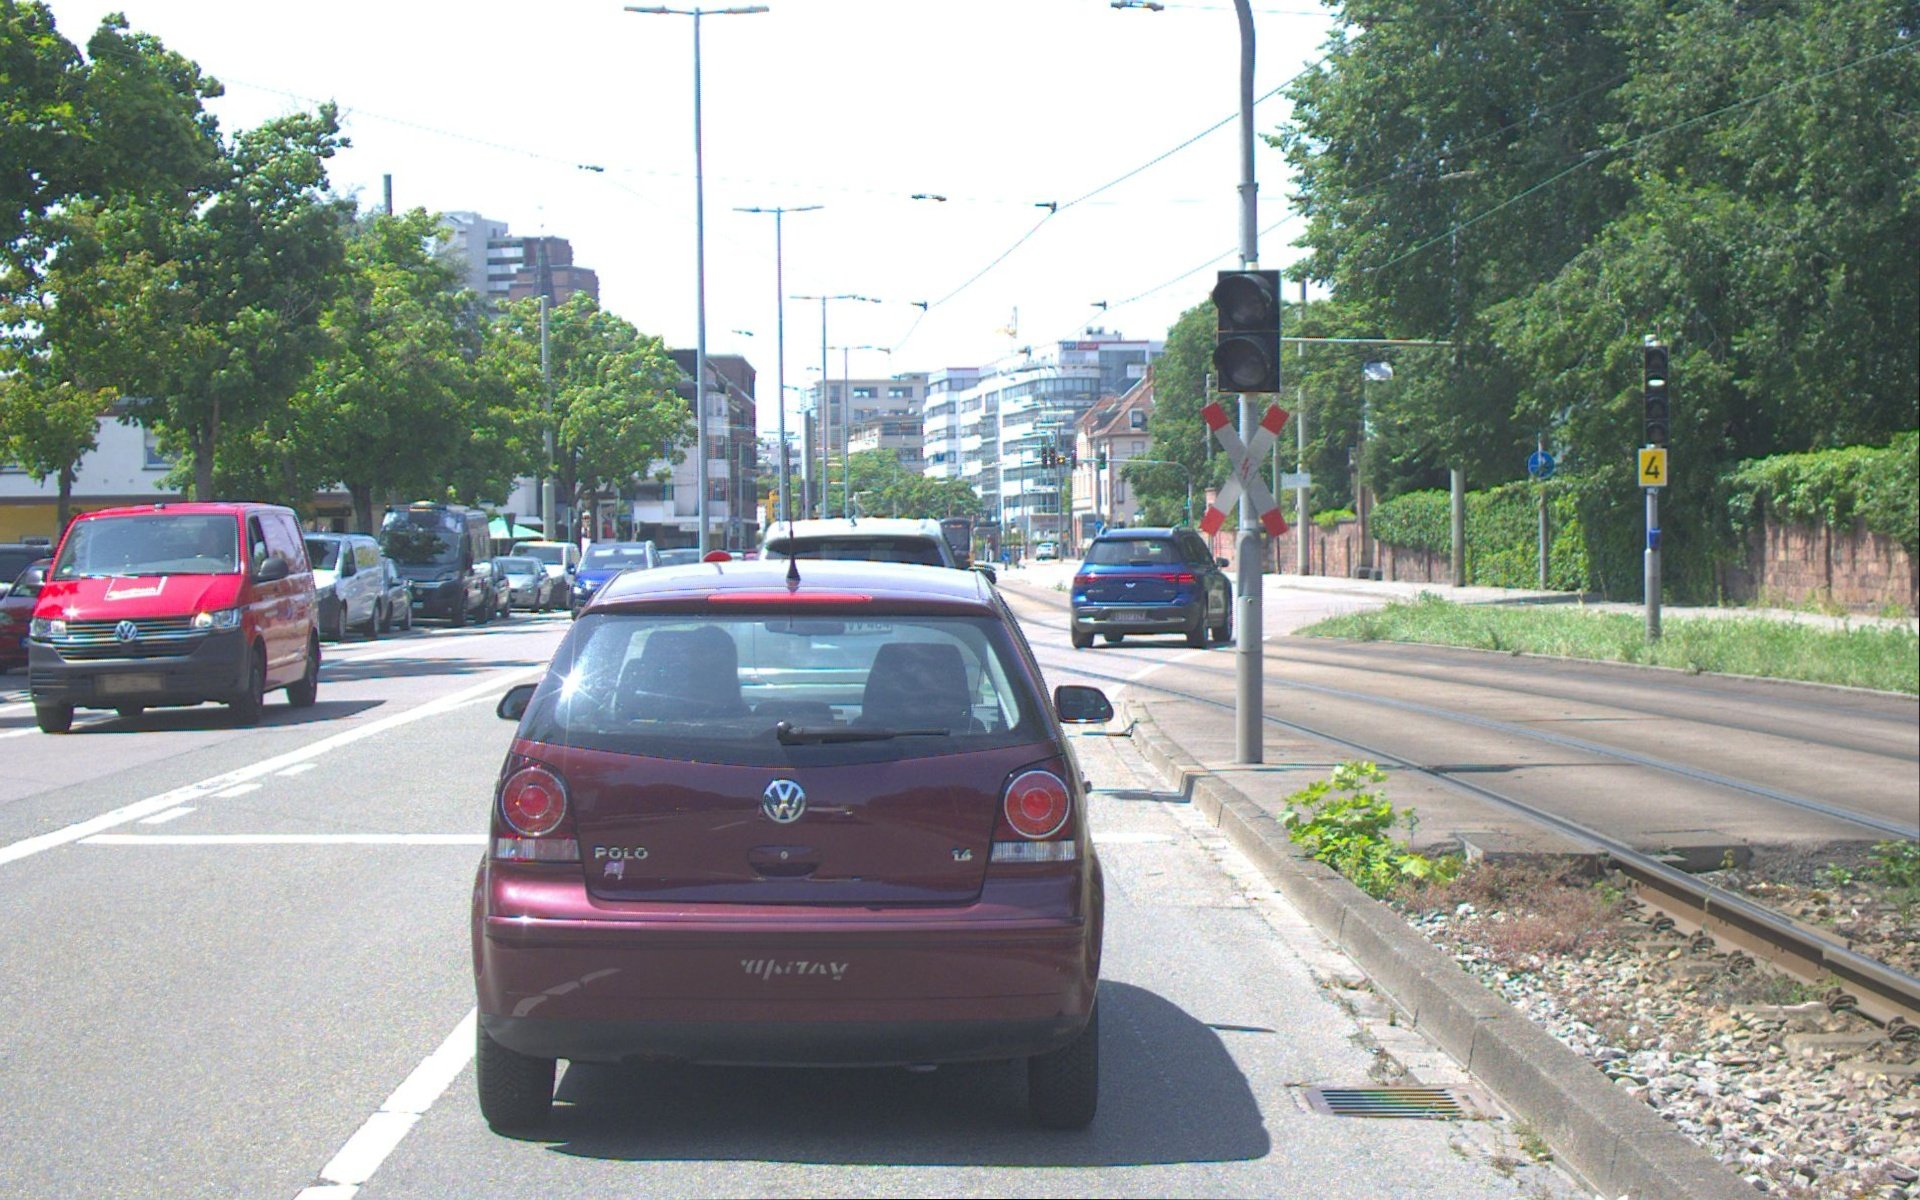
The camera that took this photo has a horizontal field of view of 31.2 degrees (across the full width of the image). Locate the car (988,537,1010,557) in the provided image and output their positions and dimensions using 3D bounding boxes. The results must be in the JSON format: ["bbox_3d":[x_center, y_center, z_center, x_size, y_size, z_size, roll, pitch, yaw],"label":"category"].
[{"bbox_3d":[2.504,-3.366,219.477,1.354,1.248,2.972,0,1,0],"label":"car"}]

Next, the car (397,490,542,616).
[{"bbox_3d":[-11.133,-1.087,78.497,2.398,2.647,6.173,3,1,-1],"label":"car"}]

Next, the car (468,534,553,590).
[{"bbox_3d":[-11.967,-1.018,91.682,1.631,1.415,3.867,1,1,2],"label":"car"}]

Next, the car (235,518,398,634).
[{"bbox_3d":[-11.561,-0.459,62.026,1.862,1.930,4.805,3,1,1],"label":"car"}]

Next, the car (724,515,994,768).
[{"bbox_3d":[-0.721,0.238,24.911,1.795,1.677,4.000,0,1,-1],"label":"car"}]

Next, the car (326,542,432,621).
[{"bbox_3d":[-11.343,-0.377,67.271,1.405,1.435,3.840,3,1,-1],"label":"car"}]

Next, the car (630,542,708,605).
[{"bbox_3d":[-7.650,-0.705,90.639,1.737,1.570,3.713,-2,1,-1],"label":"car"}]

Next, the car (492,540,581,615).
[{"bbox_3d":[-11.972,-0.663,97.443,1.875,1.958,5.165,3,1,-1],"label":"car"}]

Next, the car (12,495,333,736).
[{"bbox_3d":[-6.945,0.079,30.817,1.898,1.919,4.820,-2,1,-2],"label":"car"}]

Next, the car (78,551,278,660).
[{"bbox_3d":[-11.475,0.045,50.725,1.719,1.422,4.771,-2,1,1],"label":"car"}]

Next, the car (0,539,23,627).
[{"bbox_3d":[-22.311,-0.318,72.240,4.718,1.807,1.797,-1,1,-2],"label":"car"}]

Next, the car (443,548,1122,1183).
[{"bbox_3d":[-0.470,0.605,10.197,1.609,1.493,4.000,0,1,-1],"label":"car"}]

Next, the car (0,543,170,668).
[{"bbox_3d":[-11.570,0.048,44.683,1.672,1.541,3.727,0,1,1],"label":"car"}]

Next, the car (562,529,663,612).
[{"bbox_3d":[-7.293,-0.635,72.377,1.737,1.651,4.067,-2,1,-1],"label":"car"}]

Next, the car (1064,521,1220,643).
[{"bbox_3d":[2.582,-0.279,47.988,1.775,1.625,3.999,0,1,9],"label":"car"}]
